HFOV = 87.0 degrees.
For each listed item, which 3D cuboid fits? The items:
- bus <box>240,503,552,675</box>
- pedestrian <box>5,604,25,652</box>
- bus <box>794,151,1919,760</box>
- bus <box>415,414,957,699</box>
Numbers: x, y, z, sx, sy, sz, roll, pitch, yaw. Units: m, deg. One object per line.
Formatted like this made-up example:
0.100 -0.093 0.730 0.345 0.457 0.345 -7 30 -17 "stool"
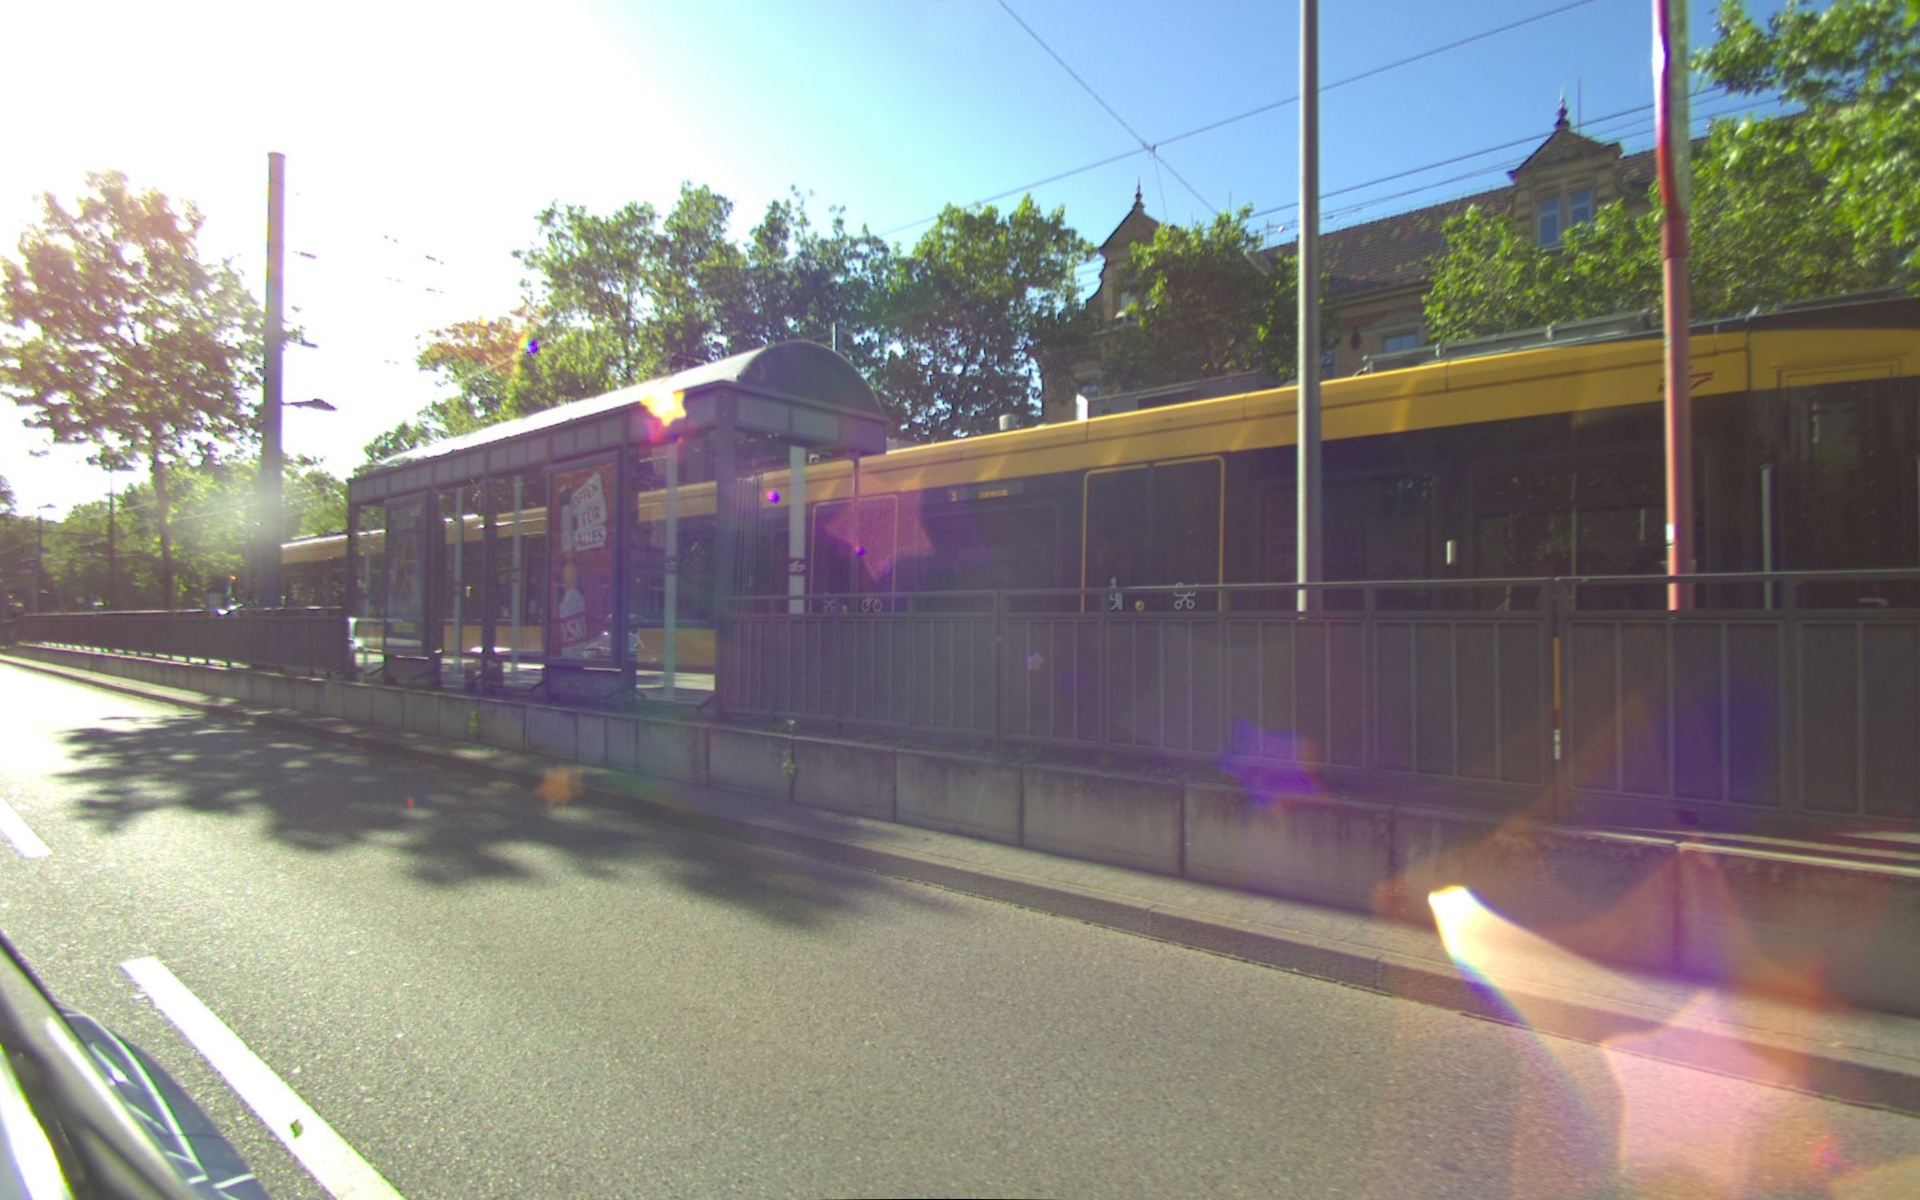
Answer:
-14.934 -0.064 25.894 13.212 3.470 2.838 -2 -2 42 "bus"
-38.474 1.136 41.191 0.583 1.917 0.447 -1 -2 34 "pedestrian"
3.206 -0.712 9.681 11.607 3.470 2.838 -2 -2 42 "bus"
-5.540 -0.379 17.457 12.210 3.470 2.838 -2 -2 42 "bus"
